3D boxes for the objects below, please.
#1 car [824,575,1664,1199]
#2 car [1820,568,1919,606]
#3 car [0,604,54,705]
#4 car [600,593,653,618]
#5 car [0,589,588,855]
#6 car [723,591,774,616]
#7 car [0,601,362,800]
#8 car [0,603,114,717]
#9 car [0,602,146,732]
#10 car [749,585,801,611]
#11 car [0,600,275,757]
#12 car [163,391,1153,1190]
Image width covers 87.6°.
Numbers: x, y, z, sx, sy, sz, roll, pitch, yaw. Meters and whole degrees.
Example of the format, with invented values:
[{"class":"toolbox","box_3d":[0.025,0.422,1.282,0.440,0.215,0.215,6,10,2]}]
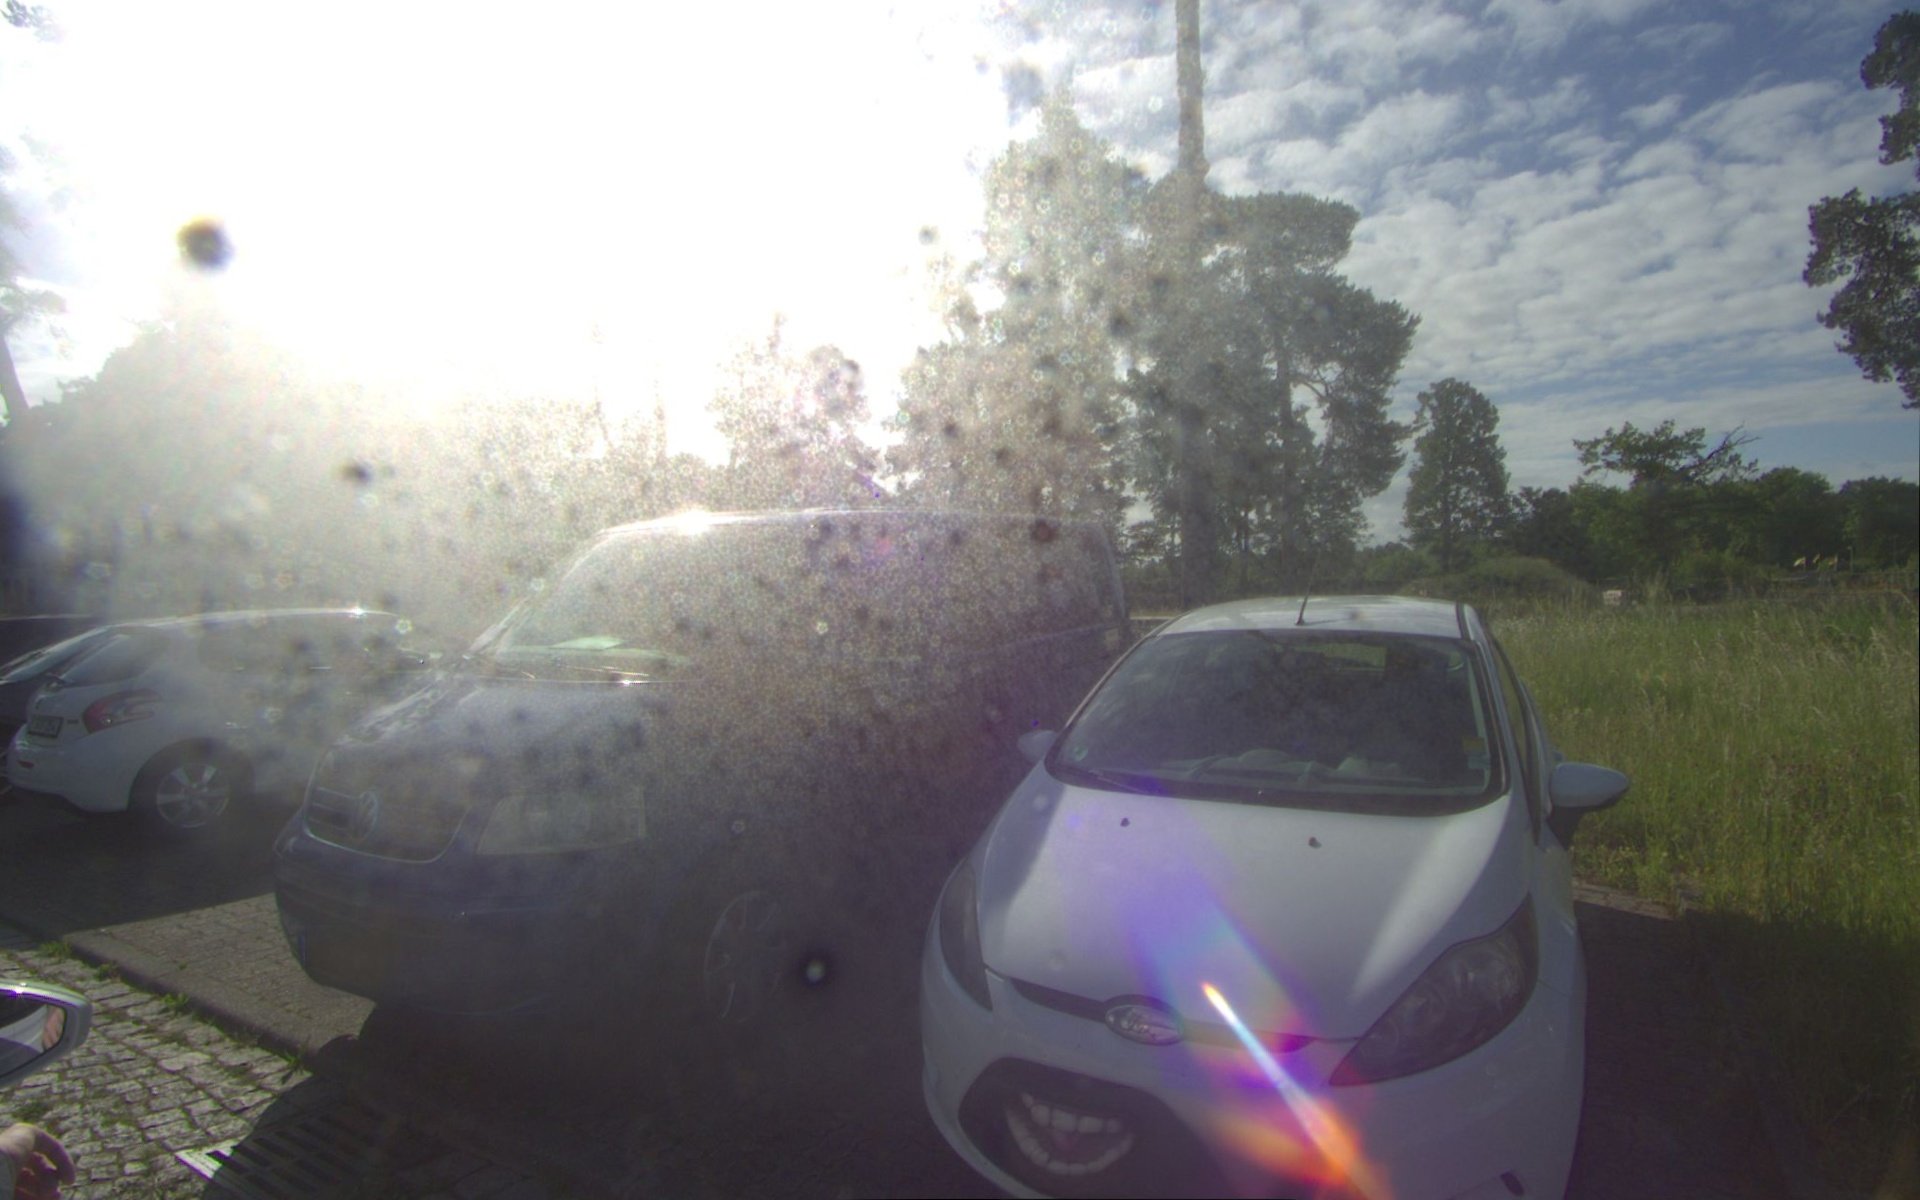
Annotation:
[{"class":"car","box_3d":[1.296,0.682,3.594,1.620,1.508,3.713,0,1,29]},{"class":"car","box_3d":[57.697,-0.824,62.361,2.348,2.200,5.968,-1,-1,-38]},{"class":"car","box_3d":[-16.122,0.862,14.579,1.620,1.550,4.030,0,1,28]},{"class":"car","box_3d":[-28.251,0.418,84.958,1.971,2.041,3.979,0,1,31]},{"class":"car","box_3d":[-5.081,0.726,8.006,1.622,1.486,3.684,0,2,32]},{"class":"car","box_3d":[-17.683,0.267,83.850,1.971,2.041,3.979,0,1,31]},{"class":"car","box_3d":[-7.764,0.805,9.074,1.621,1.487,3.668,0,1,30]},{"class":"car","box_3d":[-14.148,0.840,13.685,1.621,1.550,3.597,0,1,30]},{"class":"car","box_3d":[-12.357,0.821,12.161,1.621,1.550,3.472,0,1,30]},{"class":"car","box_3d":[-15.156,-0.157,82.193,1.971,2.041,3.979,0,1,31]},{"class":"car","box_3d":[-9.908,0.796,11.081,1.621,1.550,3.472,0,1,30]},{"class":"car","box_3d":[-0.794,0.477,5.096,2.053,2.040,4.669,0,1,31]}]
